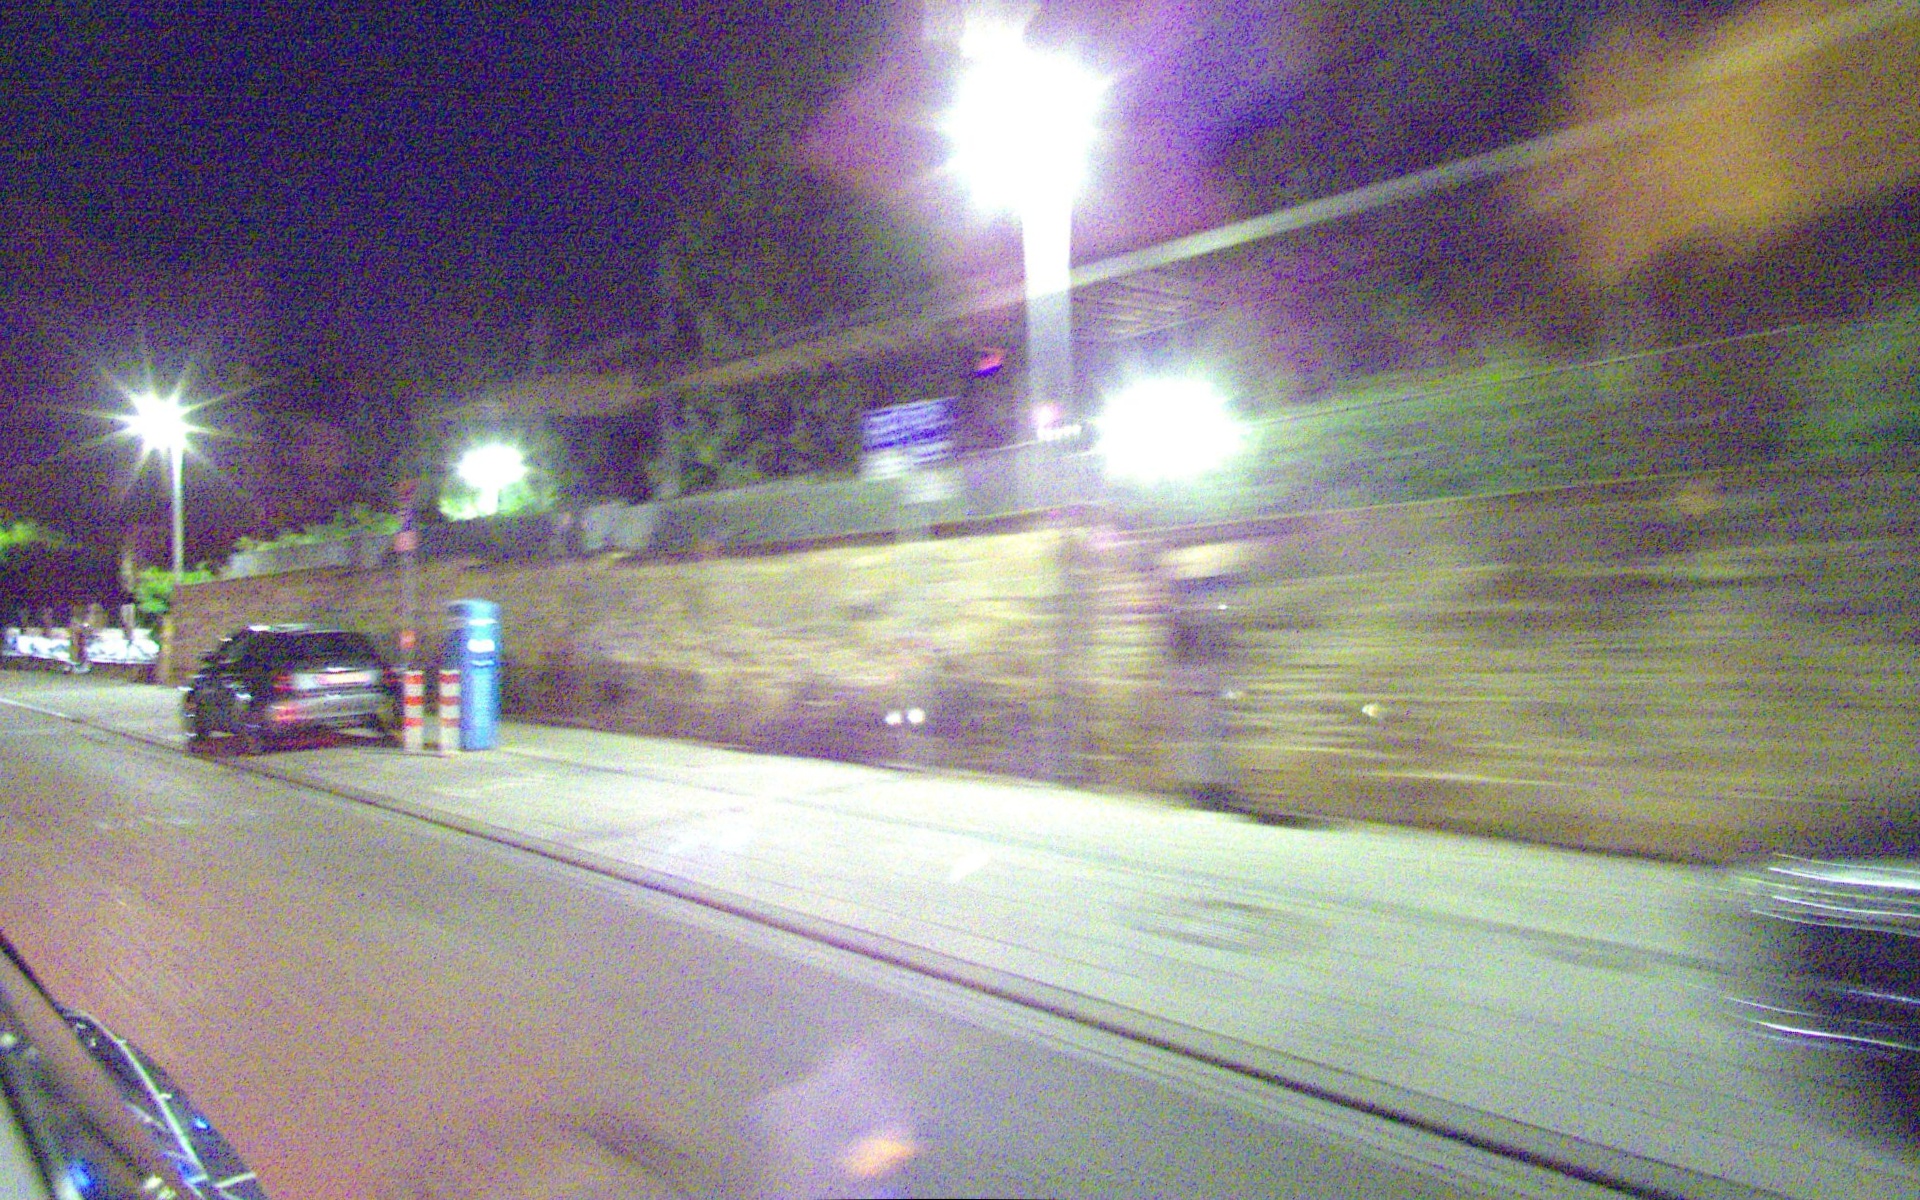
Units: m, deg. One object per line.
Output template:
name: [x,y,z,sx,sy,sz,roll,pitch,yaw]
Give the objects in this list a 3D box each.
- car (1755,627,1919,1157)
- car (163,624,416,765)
car: [4.507,0.791,2.302,4.127,1.447,1.674,-2,-1,42]
car: [-8.826,1.115,13.242,3.686,1.535,1.675,0,-1,38]
